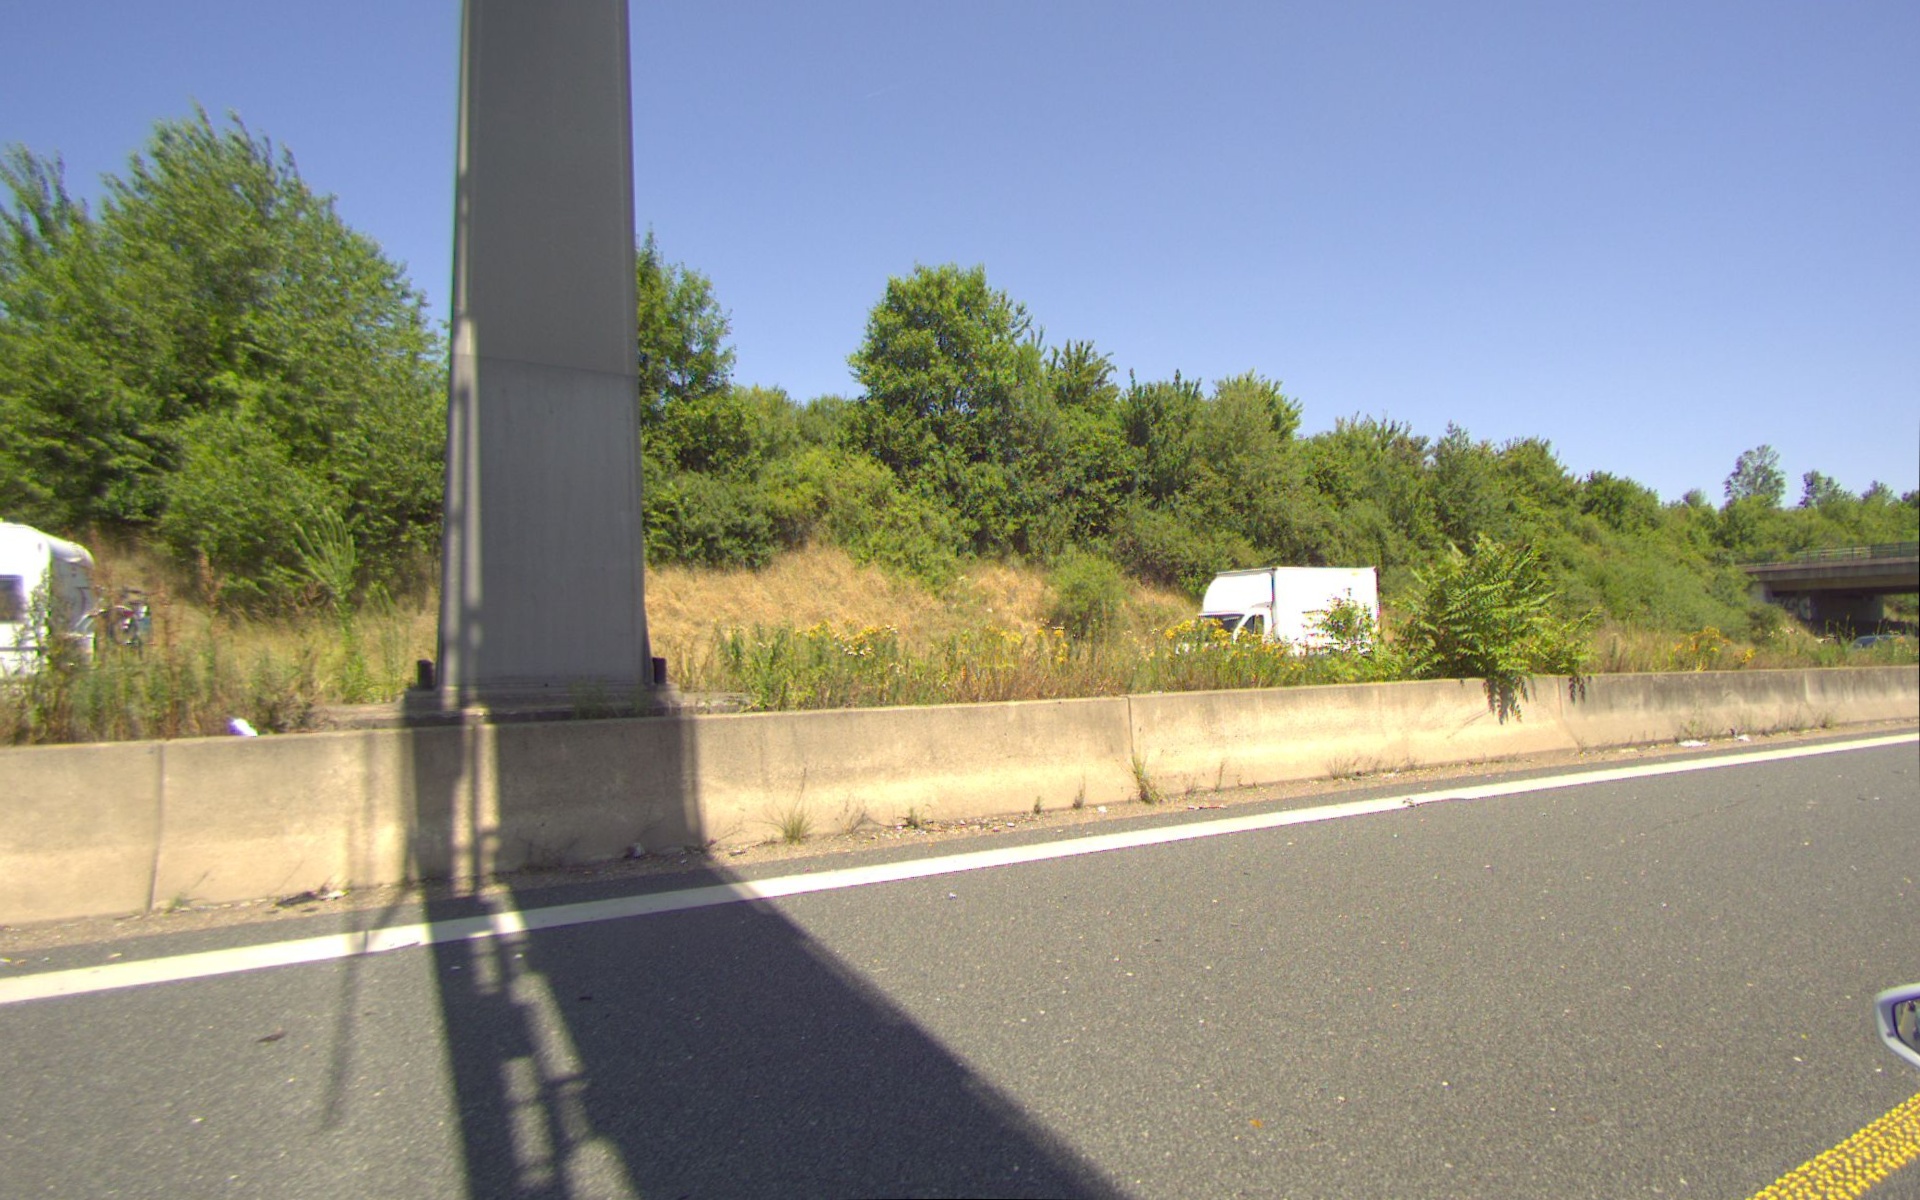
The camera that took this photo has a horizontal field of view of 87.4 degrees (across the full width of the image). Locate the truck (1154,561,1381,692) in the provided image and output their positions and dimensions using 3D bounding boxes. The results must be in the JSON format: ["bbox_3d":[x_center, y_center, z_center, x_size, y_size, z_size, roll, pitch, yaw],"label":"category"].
[{"bbox_3d":[8.587,0.748,27.852,6.291,3.302,2.483,1,-2,-31],"label":"truck"}]

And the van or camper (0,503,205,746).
[{"bbox_3d":[-14.901,0.313,13.288,7.538,3.188,2.424,1,-2,-31],"label":"van or camper"}]
